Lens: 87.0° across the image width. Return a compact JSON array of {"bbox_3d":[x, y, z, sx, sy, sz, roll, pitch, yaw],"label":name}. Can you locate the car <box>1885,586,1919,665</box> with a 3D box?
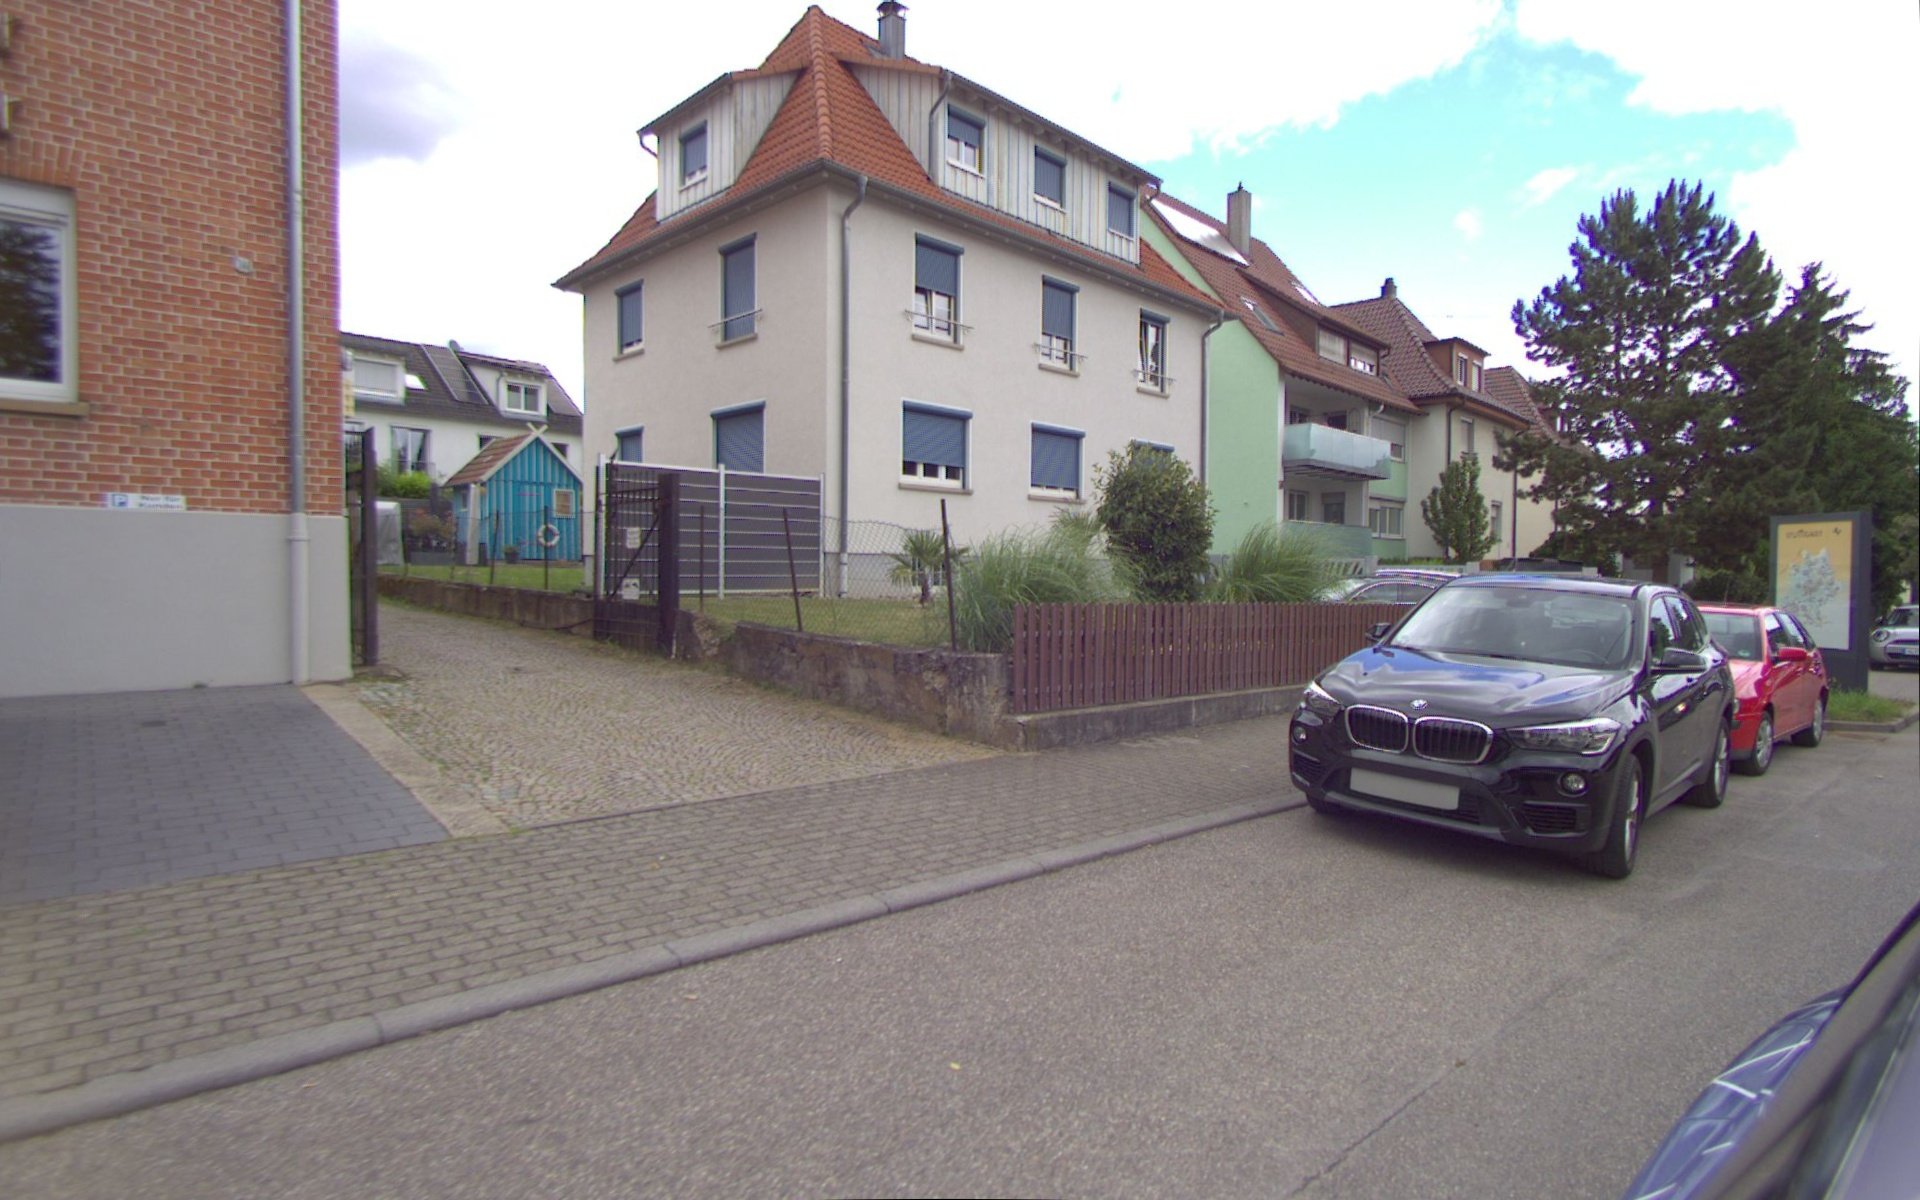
[{"bbox_3d":[21.344,0.546,21.813,3.620,1.602,1.679,0,2,-41],"label":"car"}]

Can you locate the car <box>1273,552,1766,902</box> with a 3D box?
[{"bbox_3d":[3.953,0.567,6.807,4.088,1.611,1.726,0,3,-44],"label":"car"}]

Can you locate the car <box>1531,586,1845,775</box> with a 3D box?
[{"bbox_3d":[7.124,0.621,9.787,3.620,1.440,1.679,0,2,-41],"label":"car"}]
